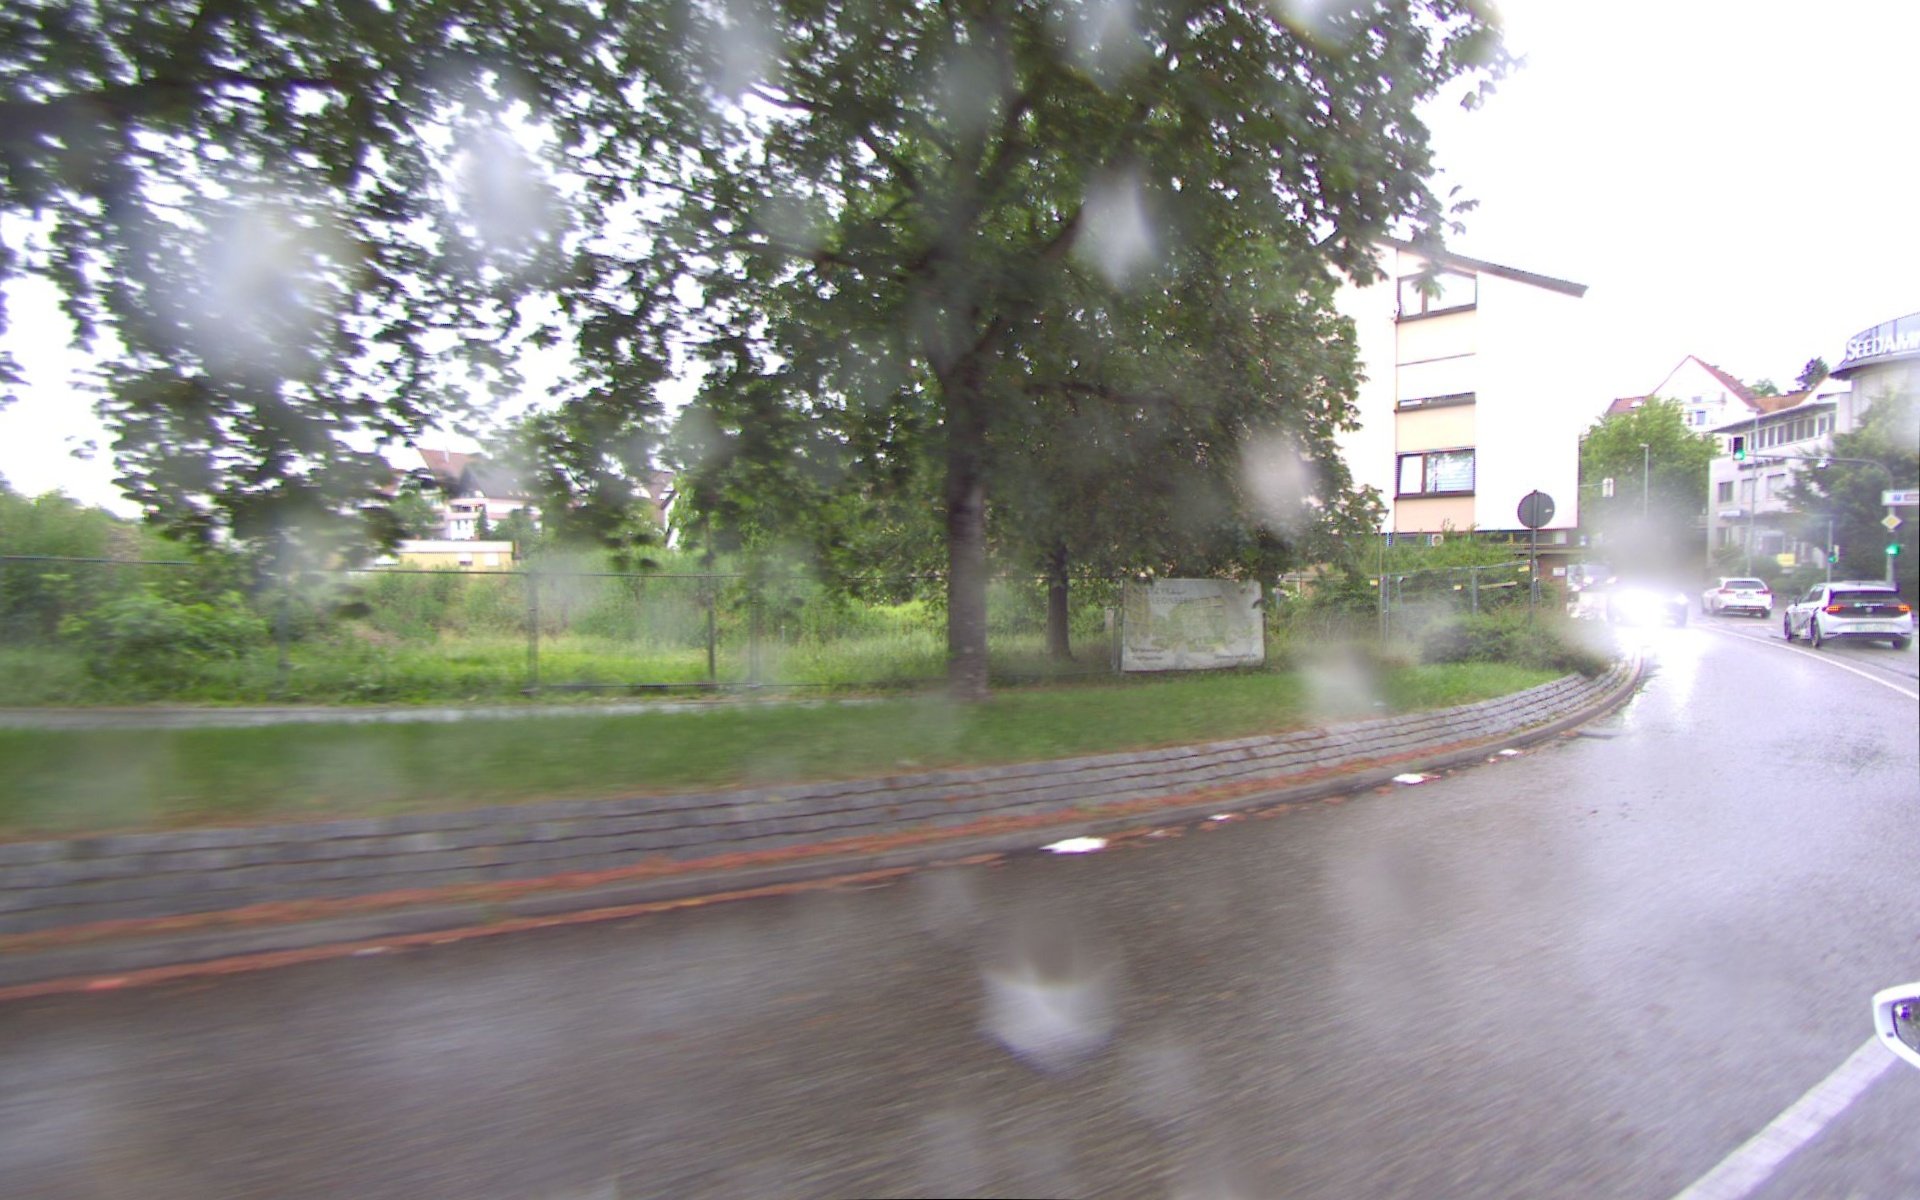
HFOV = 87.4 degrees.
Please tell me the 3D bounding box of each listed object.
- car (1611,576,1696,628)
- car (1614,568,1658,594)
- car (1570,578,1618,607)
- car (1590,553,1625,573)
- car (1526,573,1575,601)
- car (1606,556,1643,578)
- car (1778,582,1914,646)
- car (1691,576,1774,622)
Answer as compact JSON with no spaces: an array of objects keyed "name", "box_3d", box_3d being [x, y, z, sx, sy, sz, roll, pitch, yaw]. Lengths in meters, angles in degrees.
[{"name":"car","box_3d":[23.661,0.025,34.405,1.865,1.617,4.348,-2,0,28]},{"name":"car","box_3d":[44.013,-1.271,65.451,1.863,1.612,3.684,-1,2,26]},{"name":"car","box_3d":[39.324,-0.512,62.397,1.756,1.584,4.398,1,3,23]},{"name":"car","box_3d":[57.219,-3.269,88.811,1.822,1.663,3.869,-1,2,22]},{"name":"car","box_3d":[31.571,-0.718,53.777,1.742,1.421,3.916,-1,1,23]},{"name":"car","box_3d":[55.062,-2.751,83.260,1.822,1.663,3.536,-1,2,22]},{"name":"car","box_3d":[22.133,0.284,25.260,1.791,1.378,3.980,1,3,30]},{"name":"car","box_3d":[29.509,-0.022,38.504,1.701,1.612,4.179,2,1,27]}]
